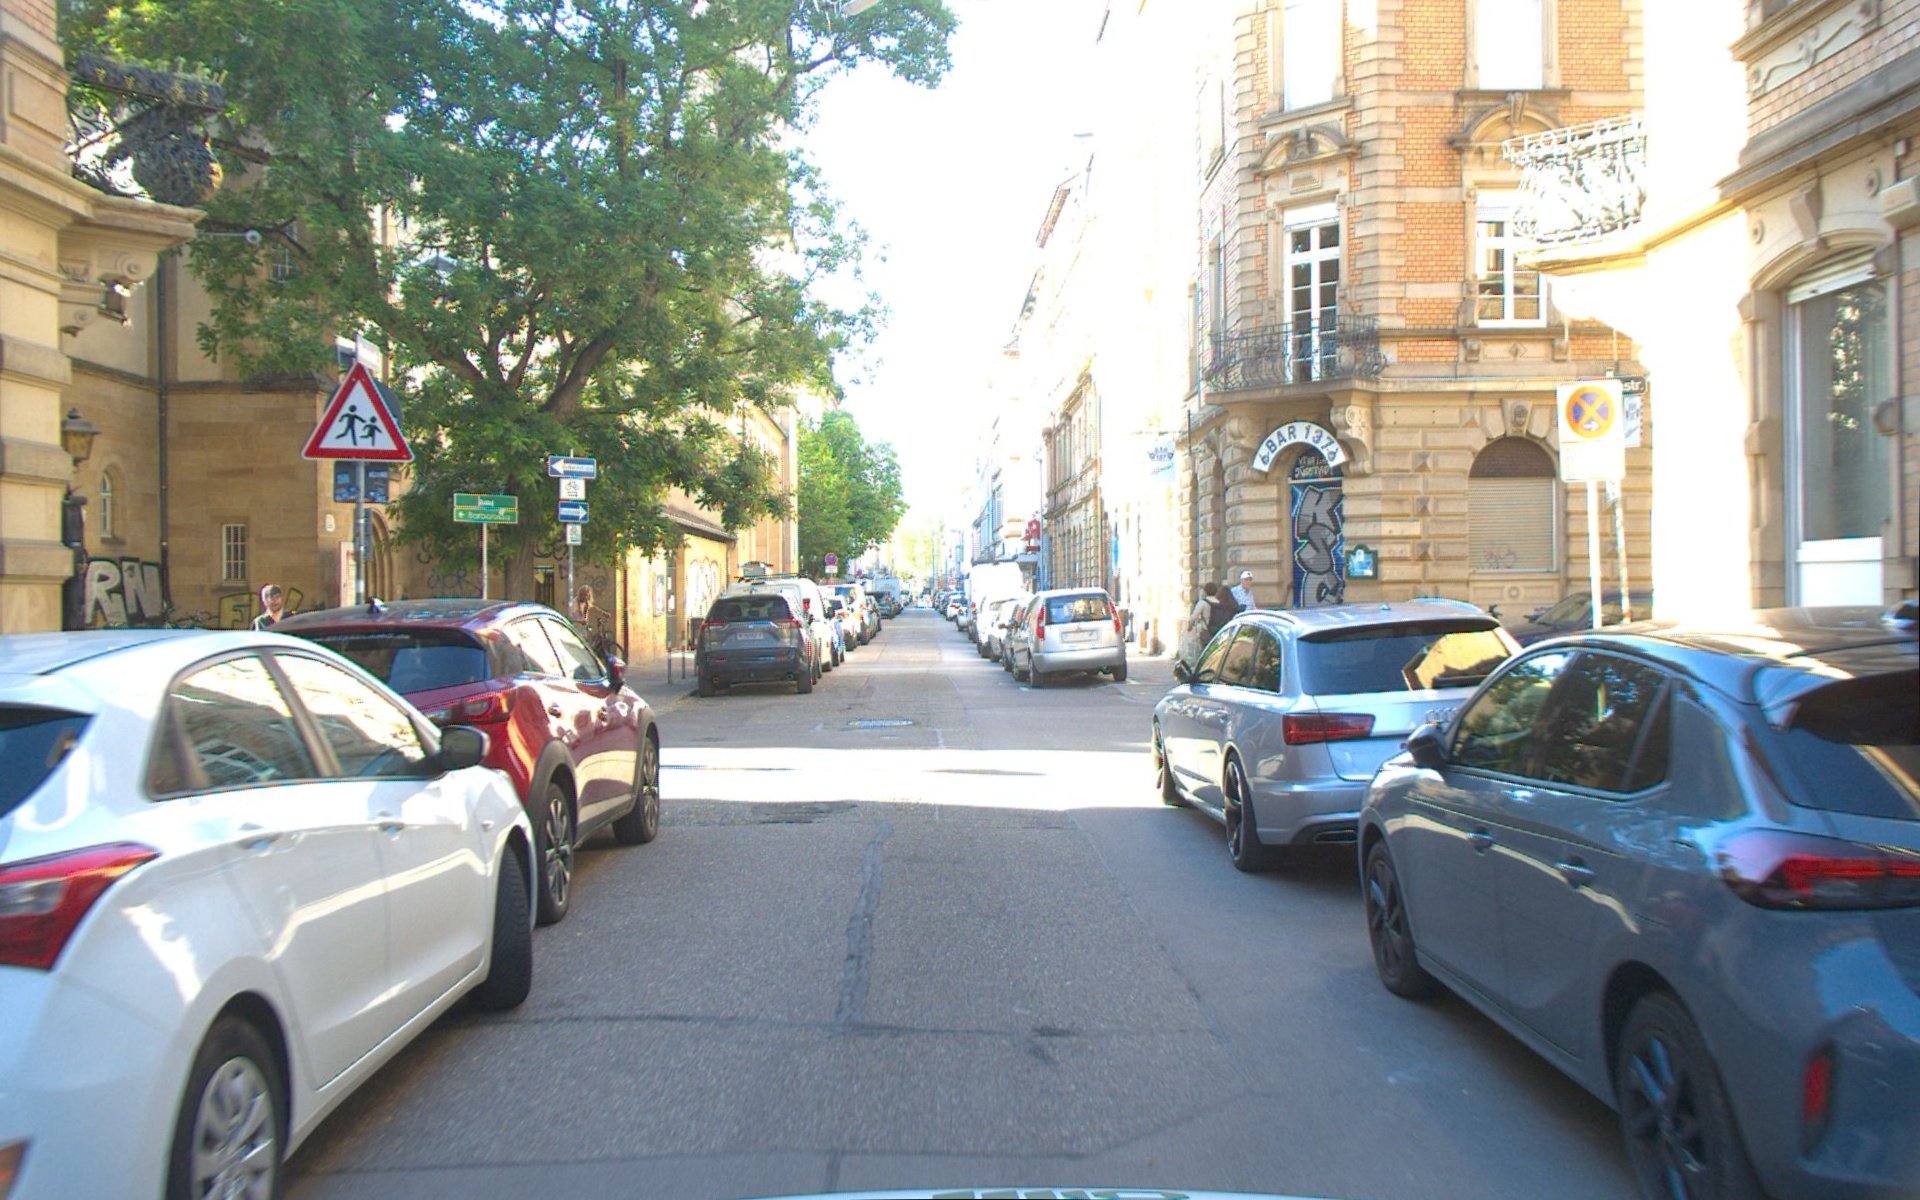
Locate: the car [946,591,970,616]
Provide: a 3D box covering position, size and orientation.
[{"bbox_3d":[-0.165,0.242,123.982,1.733,1.771,3.999,-1,0,-1],"label":"car"}]

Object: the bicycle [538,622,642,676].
[{"bbox_3d":[-6.995,0.921,31.325,1.724,0.939,0.827,2,0,7],"label":"bicycle"}]

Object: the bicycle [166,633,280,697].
[{"bbox_3d":[-12.936,1.135,29.051,1.740,1.073,0.478,-1,0,-2],"label":"bicycle"}]

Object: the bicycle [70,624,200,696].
[{"bbox_3d":[-12.941,0.941,25.978,1.740,1.073,0.534,-1,0,-2],"label":"bicycle"}]

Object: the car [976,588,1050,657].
[{"bbox_3d":[1.372,0.592,44.470,1.771,1.719,4.213,1,0,-1],"label":"car"}]

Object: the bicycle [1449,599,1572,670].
[{"bbox_3d":[8.618,0.536,25.917,1.740,1.073,0.534,-1,0,-2],"label":"bicycle"}]

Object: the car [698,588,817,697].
[{"bbox_3d":[-3.337,0.654,27.931,1.706,1.675,4.286,-1,0,-4],"label":"car"}]

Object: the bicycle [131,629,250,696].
[{"bbox_3d":[-12.835,1.035,27.613,1.740,1.073,0.478,-1,0,-2],"label":"bicycle"}]

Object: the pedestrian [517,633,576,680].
[{"bbox_3d":[-7.377,0.999,29.480,0.904,0.792,0.697,-1,0,-26],"label":"pedestrian"}]

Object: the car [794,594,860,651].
[{"bbox_3d":[-3.903,0.644,49.039,1.707,1.614,3.868,0,0,-1],"label":"car"}]

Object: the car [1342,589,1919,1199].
[{"bbox_3d":[2.458,0.738,5.033,1.633,1.505,3.887,-1,1,-1],"label":"car"}]

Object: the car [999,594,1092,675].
[{"bbox_3d":[1.722,0.661,34.219,1.505,1.539,3.679,-2,0,-3],"label":"car"}]

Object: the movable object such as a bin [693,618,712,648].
[{"bbox_3d":[-7.172,0.919,46.098,0.444,0.821,0.590,0,0,-2],"label":"movable object such as a bin"}]

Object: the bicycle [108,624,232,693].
[{"bbox_3d":[-12.913,0.947,27.070,1.740,1.073,0.534,-1,0,-2],"label":"bicycle"}]

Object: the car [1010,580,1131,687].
[{"bbox_3d":[1.910,0.550,29.709,1.669,1.744,3.935,-2,0,-3],"label":"car"}]

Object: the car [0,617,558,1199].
[{"bbox_3d":[-2.354,0.807,4.664,1.640,1.445,3.872,1,0,-3],"label":"car"}]

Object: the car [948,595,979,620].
[{"bbox_3d":[0.173,0.479,103.376,1.859,1.514,3.868,-1,0,-1],"label":"car"}]

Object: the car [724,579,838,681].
[{"bbox_3d":[-3.526,0.542,33.306,1.808,1.895,4.465,-1,1,0],"label":"car"}]

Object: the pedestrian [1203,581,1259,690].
[{"bbox_3d":[4.217,0.539,25.805,0.564,1.650,0.731,-2,1,-16],"label":"pedestrian"}]

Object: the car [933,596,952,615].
[{"bbox_3d":[-1.914,0.614,179.743,1.953,2.049,3.999,-1,0,-1],"label":"car"}]

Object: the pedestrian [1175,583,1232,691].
[{"bbox_3d":[3.764,0.559,25.610,0.581,1.632,0.724,-2,1,-16],"label":"pedestrian"}]

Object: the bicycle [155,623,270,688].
[{"bbox_3d":[-12.879,0.956,28.526,1.740,1.073,0.478,-1,0,-2],"label":"bicycle"}]

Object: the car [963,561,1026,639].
[{"bbox_3d":[1.173,-0.023,59.045,2.026,2.656,5.886,0,0,-1],"label":"car"}]

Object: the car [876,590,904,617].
[{"bbox_3d":[-4.826,0.245,115.078,1.837,1.828,3.999,-1,0,-1],"label":"car"}]

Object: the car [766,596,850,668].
[{"bbox_3d":[-3.504,0.704,38.671,1.653,1.502,3.859,-3,0,-2],"label":"car"}]

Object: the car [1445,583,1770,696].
[{"bbox_3d":[9.034,0.524,23.274,3.899,1.477,1.733,-1,1,-1],"label":"car"}]

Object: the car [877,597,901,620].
[{"bbox_3d":[-5.921,0.711,137.248,1.839,1.828,3.996,-1,0,-5],"label":"car"}]

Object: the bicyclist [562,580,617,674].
[{"bbox_3d":[-7.021,0.500,31.326,0.788,1.753,0.692,2,1,7],"label":"bicyclist"}]

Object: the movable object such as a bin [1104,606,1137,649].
[{"bbox_3d":[4.211,0.718,43.398,0.543,1.071,0.596,-4,0,-35],"label":"movable object such as a bin"}]

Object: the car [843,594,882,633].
[{"bbox_3d":[-4.463,0.601,76.058,1.568,1.642,3.807,-3,0,-2],"label":"car"}]

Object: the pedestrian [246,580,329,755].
[{"bbox_3d":[-6.347,0.617,15.642,0.656,1.607,0.756,0,0,-18],"label":"pedestrian"}]

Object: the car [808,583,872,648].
[{"bbox_3d":[-3.939,0.498,54.911,1.827,1.991,4.608,-2,0,-2],"label":"car"}]

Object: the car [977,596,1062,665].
[{"bbox_3d":[1.397,0.694,39.995,1.541,1.552,3.904,2,0,-5],"label":"car"}]

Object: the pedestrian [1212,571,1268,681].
[{"bbox_3d":[4.612,0.426,27.205,0.571,1.763,0.653,-2,1,-43],"label":"pedestrian"}]

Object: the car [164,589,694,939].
[{"bbox_3d":[-2.641,0.715,9.257,1.687,1.507,4.088,1,0,-1],"label":"car"}]

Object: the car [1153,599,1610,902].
[{"bbox_3d":[2.370,0.753,10.512,1.671,1.484,4.510,1,0,-1],"label":"car"}]

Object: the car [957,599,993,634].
[{"bbox_3d":[0.669,0.719,75.005,1.571,1.531,4.000,1,0,0],"label":"car"}]

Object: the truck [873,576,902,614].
[{"bbox_3d":[-6.673,-0.465,153.541,2.480,3.339,6.993,-1,0,-1],"label":"truck"}]

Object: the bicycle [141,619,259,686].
[{"bbox_3d":[-12.853,0.882,28.003,1.740,1.073,0.478,-1,0,-2],"label":"bicycle"}]
